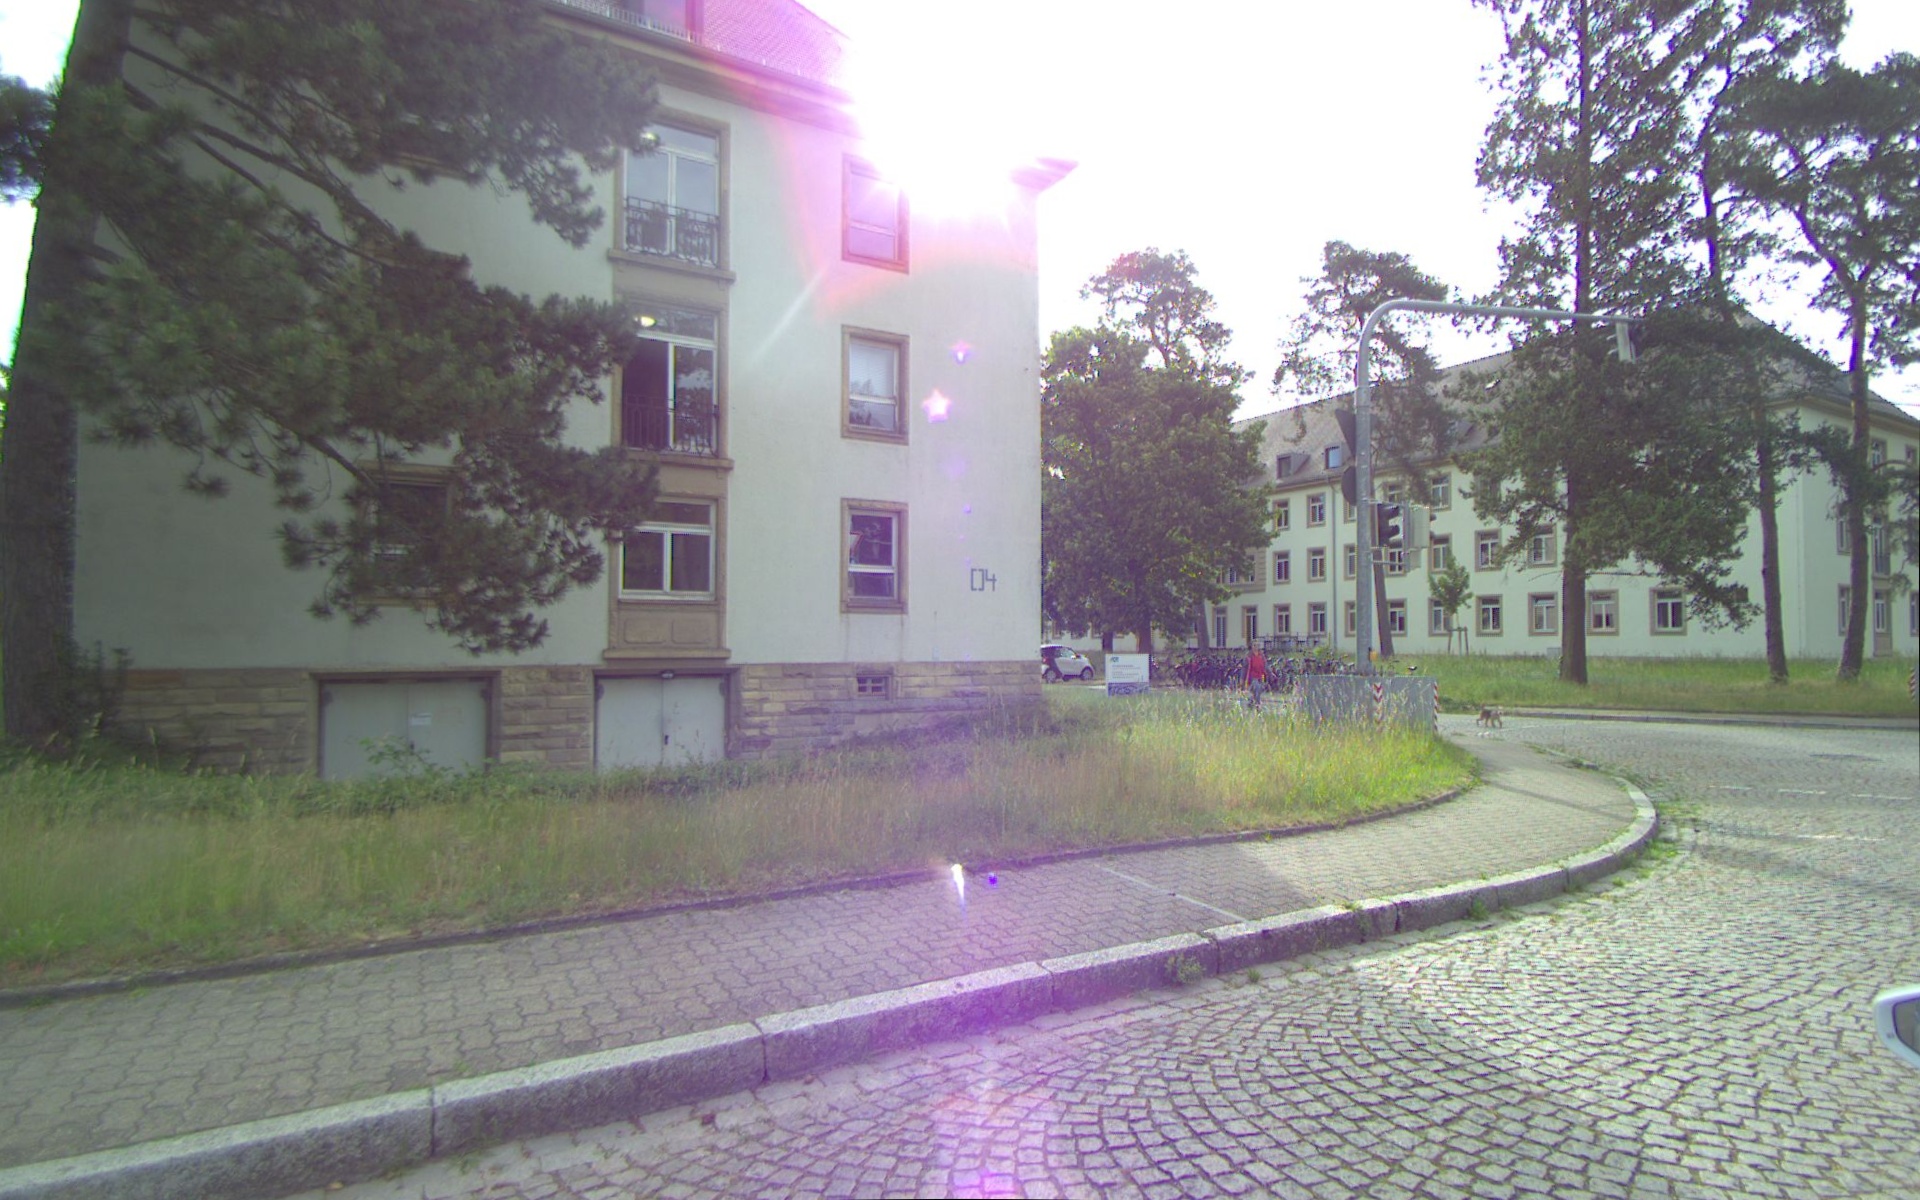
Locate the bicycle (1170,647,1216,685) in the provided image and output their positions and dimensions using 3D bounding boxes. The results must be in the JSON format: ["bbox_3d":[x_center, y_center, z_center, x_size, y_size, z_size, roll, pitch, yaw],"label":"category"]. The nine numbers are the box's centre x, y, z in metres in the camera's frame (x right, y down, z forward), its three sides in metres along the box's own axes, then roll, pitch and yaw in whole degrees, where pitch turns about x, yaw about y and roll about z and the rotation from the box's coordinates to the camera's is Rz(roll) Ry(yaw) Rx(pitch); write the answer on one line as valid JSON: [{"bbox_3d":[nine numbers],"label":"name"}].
[{"bbox_3d":[8.166,2.292,35.128,1.765,1.300,0.440,2,-3,-32],"label":"bicycle"}]

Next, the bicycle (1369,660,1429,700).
[{"bbox_3d":[11.496,2.081,26.349,0.447,1.009,1.453,1,-3,-28],"label":"bicycle"}]

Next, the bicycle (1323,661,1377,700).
[{"bbox_3d":[10.723,2.197,27.659,0.447,1.009,1.453,1,-3,-28],"label":"bicycle"}]

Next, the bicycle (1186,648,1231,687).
[{"bbox_3d":[8.482,2.271,34.202,1.677,1.300,0.447,2,-3,-32],"label":"bicycle"}]

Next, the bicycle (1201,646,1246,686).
[{"bbox_3d":[8.833,2.208,33.641,1.677,1.300,0.447,2,-3,-32],"label":"bicycle"}]

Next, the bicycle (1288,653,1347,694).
[{"bbox_3d":[10.794,2.205,30.303,1.932,1.193,0.572,2,-3,-32],"label":"bicycle"}]

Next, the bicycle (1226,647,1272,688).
[{"bbox_3d":[9.423,2.194,32.740,1.677,1.300,0.447,2,-3,-32],"label":"bicycle"}]

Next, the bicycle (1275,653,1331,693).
[{"bbox_3d":[10.529,2.214,30.823,1.909,1.193,0.525,2,-3,-32],"label":"bicycle"}]

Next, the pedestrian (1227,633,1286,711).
[{"bbox_3d":[6.578,1.590,22.316,0.925,1.690,0.859,1,-2,-19],"label":"pedestrian"}]

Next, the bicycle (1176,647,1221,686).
[{"bbox_3d":[8.231,2.277,34.619,1.677,1.300,0.447,2,-3,-32],"label":"bicycle"}]

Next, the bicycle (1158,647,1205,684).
[{"bbox_3d":[7.825,2.294,35.462,1.807,1.300,0.447,2,-3,-32],"label":"bicycle"}]

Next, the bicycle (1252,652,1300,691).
[{"bbox_3d":[9.970,2.227,31.650,1.677,1.193,0.447,2,-3,-32],"label":"bicycle"}]

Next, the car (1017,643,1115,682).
[{"bbox_3d":[4.532,2.639,42.745,3.851,1.576,1.831,1,-3,-30],"label":"car"}]

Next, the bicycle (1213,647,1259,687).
[{"bbox_3d":[9.132,2.200,33.165,1.677,1.300,0.447,2,-3,-32],"label":"bicycle"}]

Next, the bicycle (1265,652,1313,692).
[{"bbox_3d":[10.227,2.233,31.239,1.677,1.193,0.447,2,-3,-32],"label":"bicycle"}]

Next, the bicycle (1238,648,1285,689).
[{"bbox_3d":[9.708,2.188,32.324,1.677,1.300,0.447,2,-3,-32],"label":"bicycle"}]

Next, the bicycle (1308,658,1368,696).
[{"bbox_3d":[11.202,2.263,29.738,1.974,1.092,0.572,2,-3,-32],"label":"bicycle"}]

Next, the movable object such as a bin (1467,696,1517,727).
[{"bbox_3d":[10.149,2.129,19.171,0.437,0.510,0.749,0,-1,-17],"label":"movable object such as a bin"}]

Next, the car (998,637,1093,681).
[{"bbox_3d":[3.953,2.714,46.352,4.087,1.932,1.831,1,-3,-30],"label":"car"}]
